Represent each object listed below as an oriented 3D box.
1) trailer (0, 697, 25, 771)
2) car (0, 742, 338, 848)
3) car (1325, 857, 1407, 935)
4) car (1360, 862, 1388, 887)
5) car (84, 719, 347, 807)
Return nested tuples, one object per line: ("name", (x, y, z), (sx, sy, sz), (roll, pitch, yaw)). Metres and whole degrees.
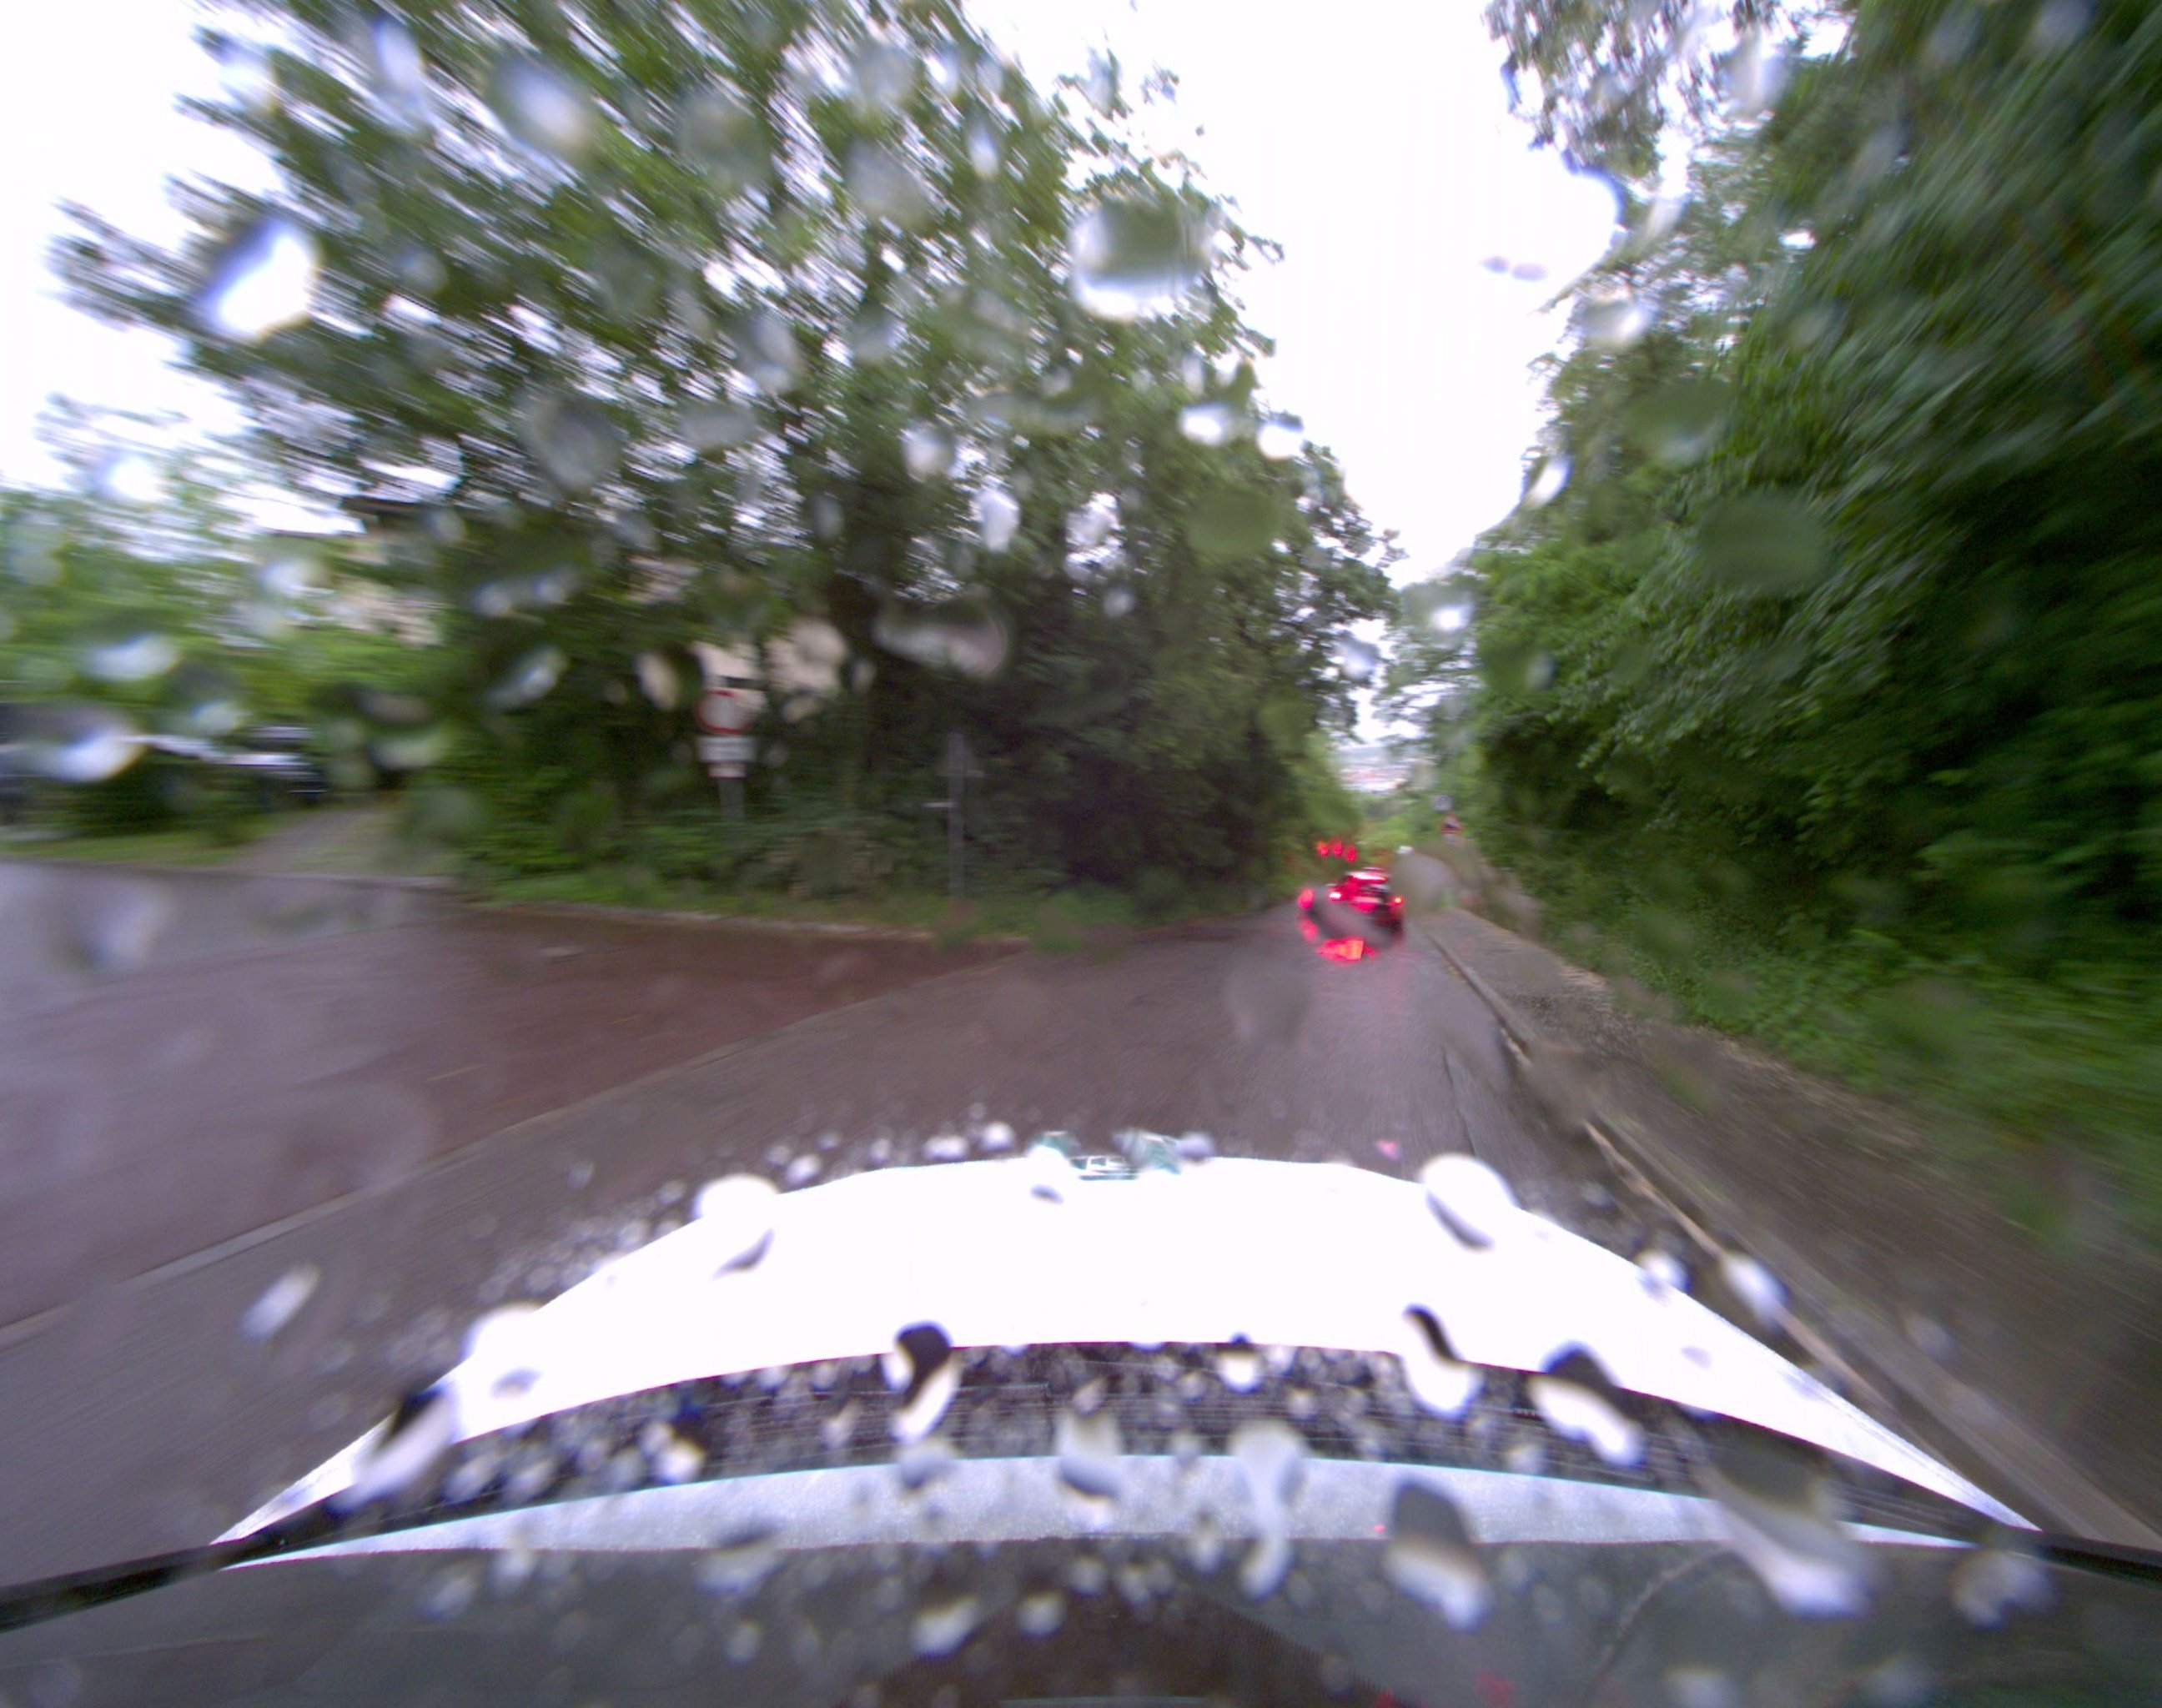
("trailer", (-28.978, -2.922, 20.555), (1.905, 1.777, 3.957), (-14, 19, -40))
("car", (-15.645, -1.099, 13.904), (4.017, 1.415, 1.683), (-7, 13, -33))
("car", (6.993, 0.923, 20.010), (1.686, 1.449, 4.021), (2, 3, 19))
("car", (22.868, 1.575, 63.601), (1.848, 1.743, 4.019), (4, 1, 19))
("car", (-18.512, -2.042, 17.676), (3.420, 1.572, 1.580), (-6, 16, -31))
